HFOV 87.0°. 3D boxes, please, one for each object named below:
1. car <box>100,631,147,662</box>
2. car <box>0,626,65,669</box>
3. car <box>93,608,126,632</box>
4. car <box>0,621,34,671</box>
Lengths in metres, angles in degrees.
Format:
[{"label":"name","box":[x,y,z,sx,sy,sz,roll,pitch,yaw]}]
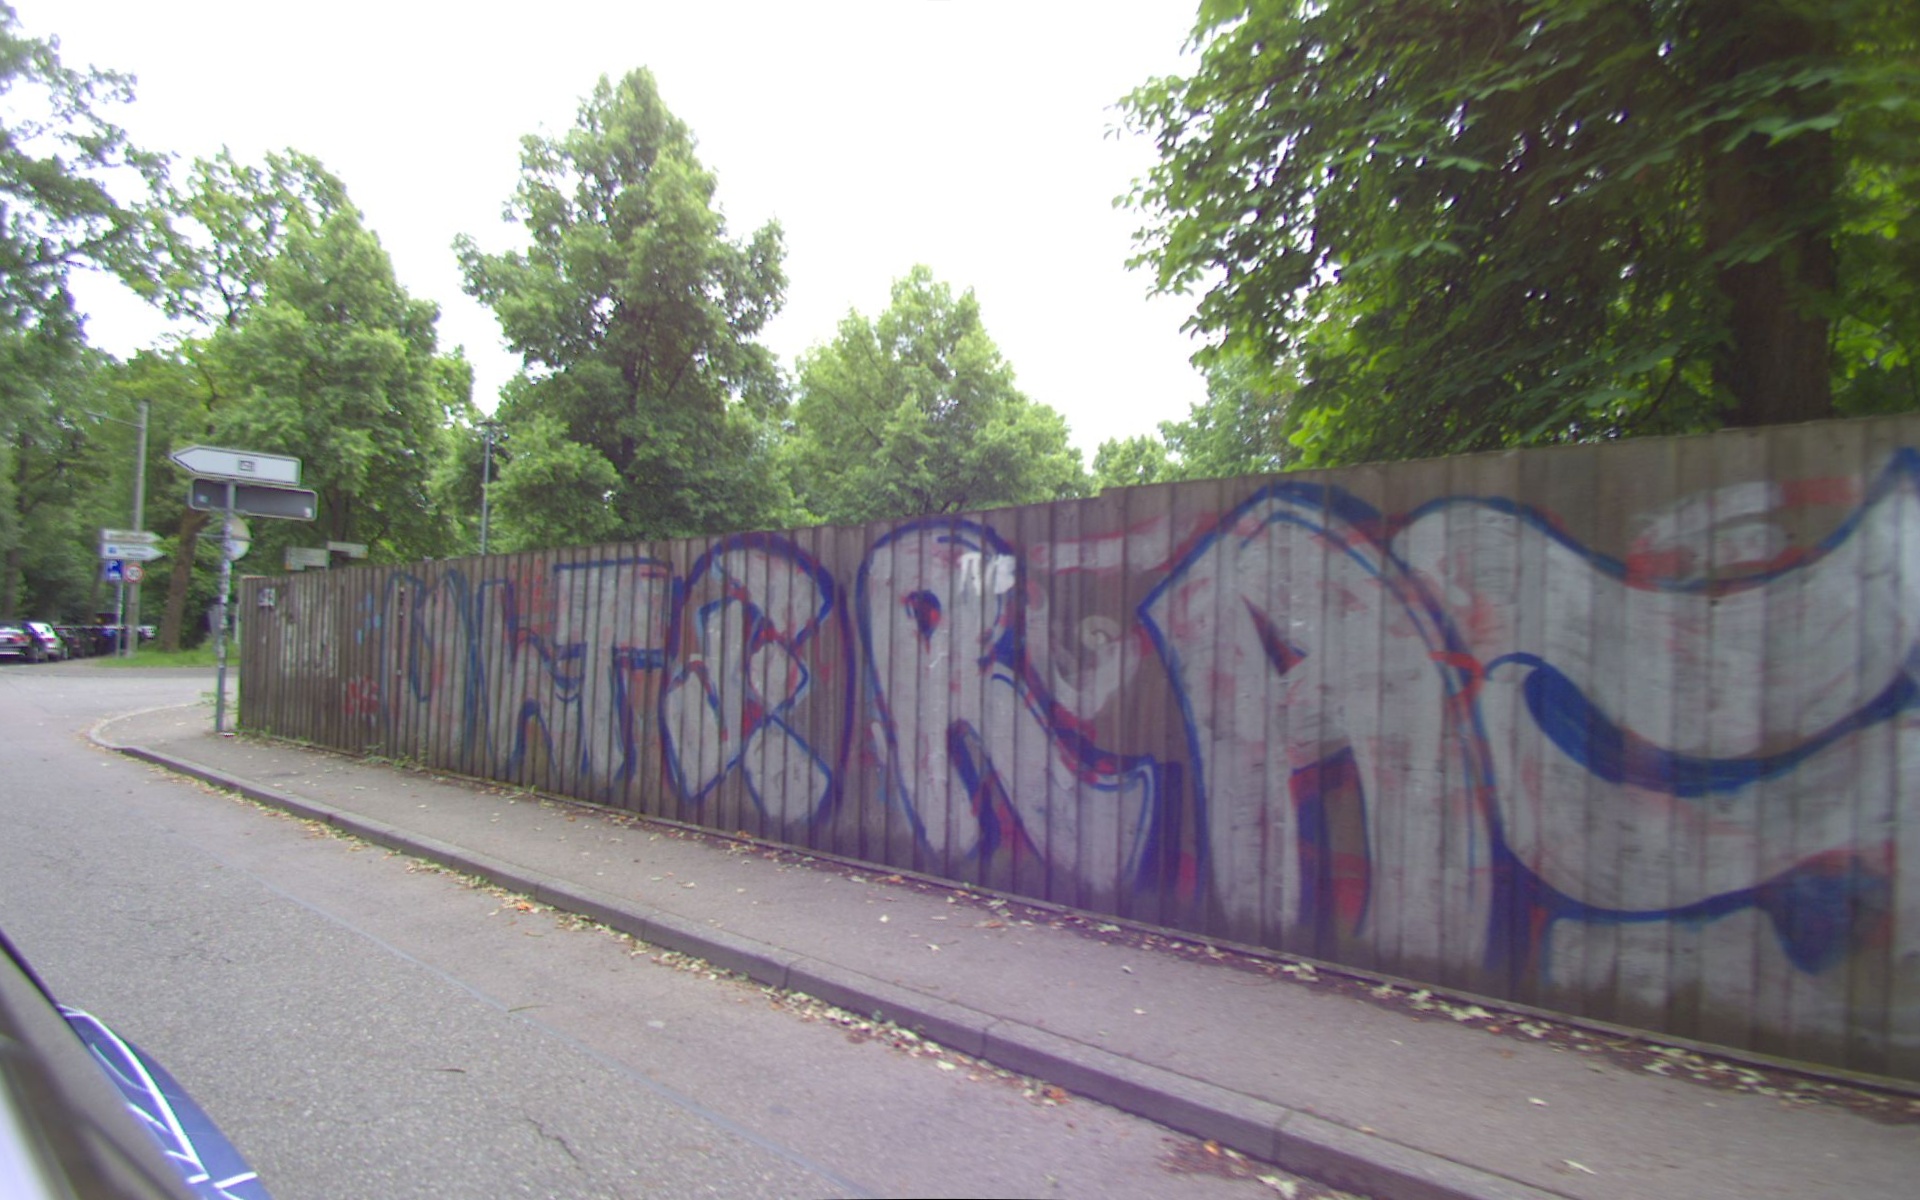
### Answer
[{"label":"car","box":[-48.463,2.673,58.595,1.928,1.631,3.644,5,-4,-41]},{"label":"car","box":[-33.259,1.703,35.897,1.968,1.431,4.008,2,-4,-38]},{"label":"car","box":[-90.283,2.127,107.440,2.541,2.554,4.944,2,-2,-40]},{"label":"car","box":[-30.521,1.472,31.755,1.743,1.506,4.335,2,-4,-38]}]
